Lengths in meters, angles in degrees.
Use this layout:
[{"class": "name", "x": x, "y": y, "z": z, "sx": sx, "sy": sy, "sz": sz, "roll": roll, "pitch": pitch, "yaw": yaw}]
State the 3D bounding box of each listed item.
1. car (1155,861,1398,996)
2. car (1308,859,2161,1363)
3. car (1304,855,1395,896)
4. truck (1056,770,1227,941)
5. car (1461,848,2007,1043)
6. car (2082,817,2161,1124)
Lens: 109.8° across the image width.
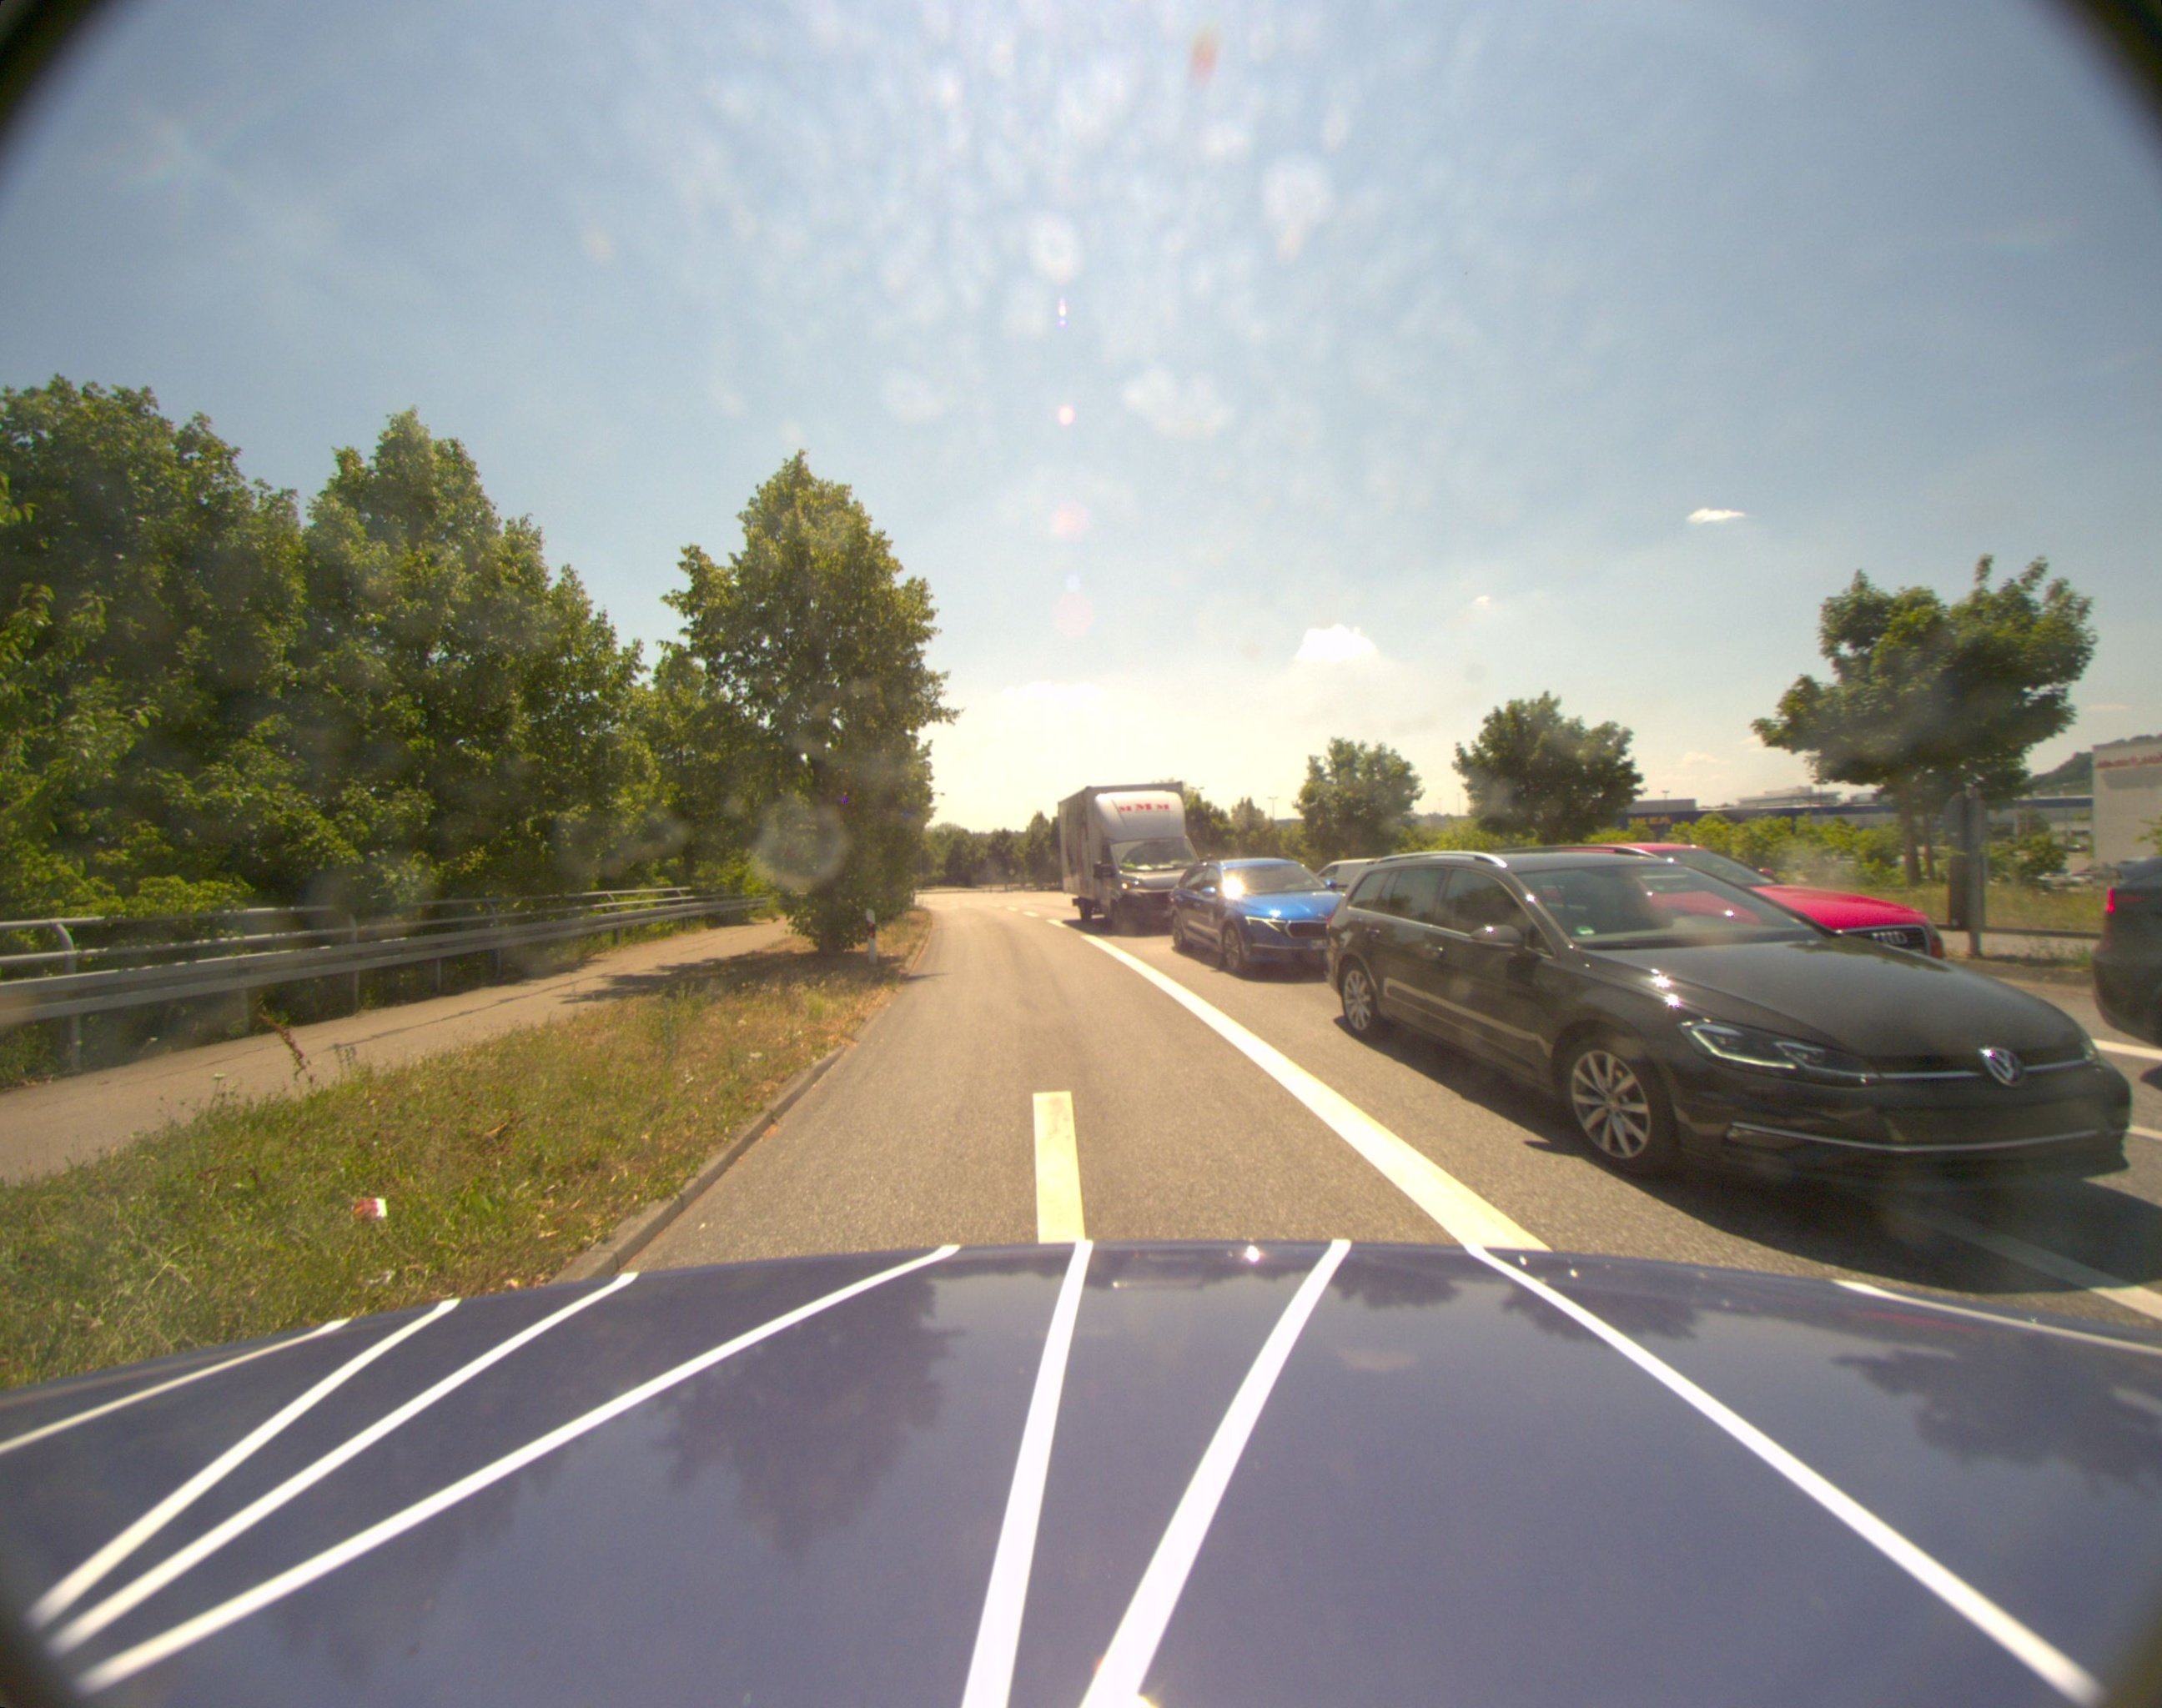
[{"class": "car", "x": 2.489, "y": 0.886, "z": 10.977, "sx": 1.713, "sy": 1.454, "sz": 4.486, "roll": -3, "pitch": 0, "yaw": -9}, {"class": "car", "x": 3.104, "y": 0.822, "z": 4.648, "sx": 1.783, "sy": 1.474, "sz": 4.427, "roll": -2, "pitch": 0, "yaw": -4}, {"class": "car", "x": 13.939, "y": 1.090, "z": 39.668, "sx": 2.003, "sy": 1.949, "sz": 3.989, "roll": -3, "pitch": 1, "yaw": -38}, {"class": "truck", "x": 1.123, "y": 0.104, "z": 18.780, "sx": 2.416, "sy": 3.327, "sz": 7.198, "roll": -2, "pitch": -1, "yaw": -9}, {"class": "car", "x": 6.133, "y": 0.676, "z": 8.021, "sx": 1.665, "sy": 1.380, "sz": 4.447, "roll": -3, "pitch": 1, "yaw": -5}, {"class": "car", "x": 6.699, "y": 0.588, "z": 2.066, "sx": 1.880, "sy": 1.591, "sz": 4.503, "roll": -2, "pitch": 1, "yaw": -5}]
